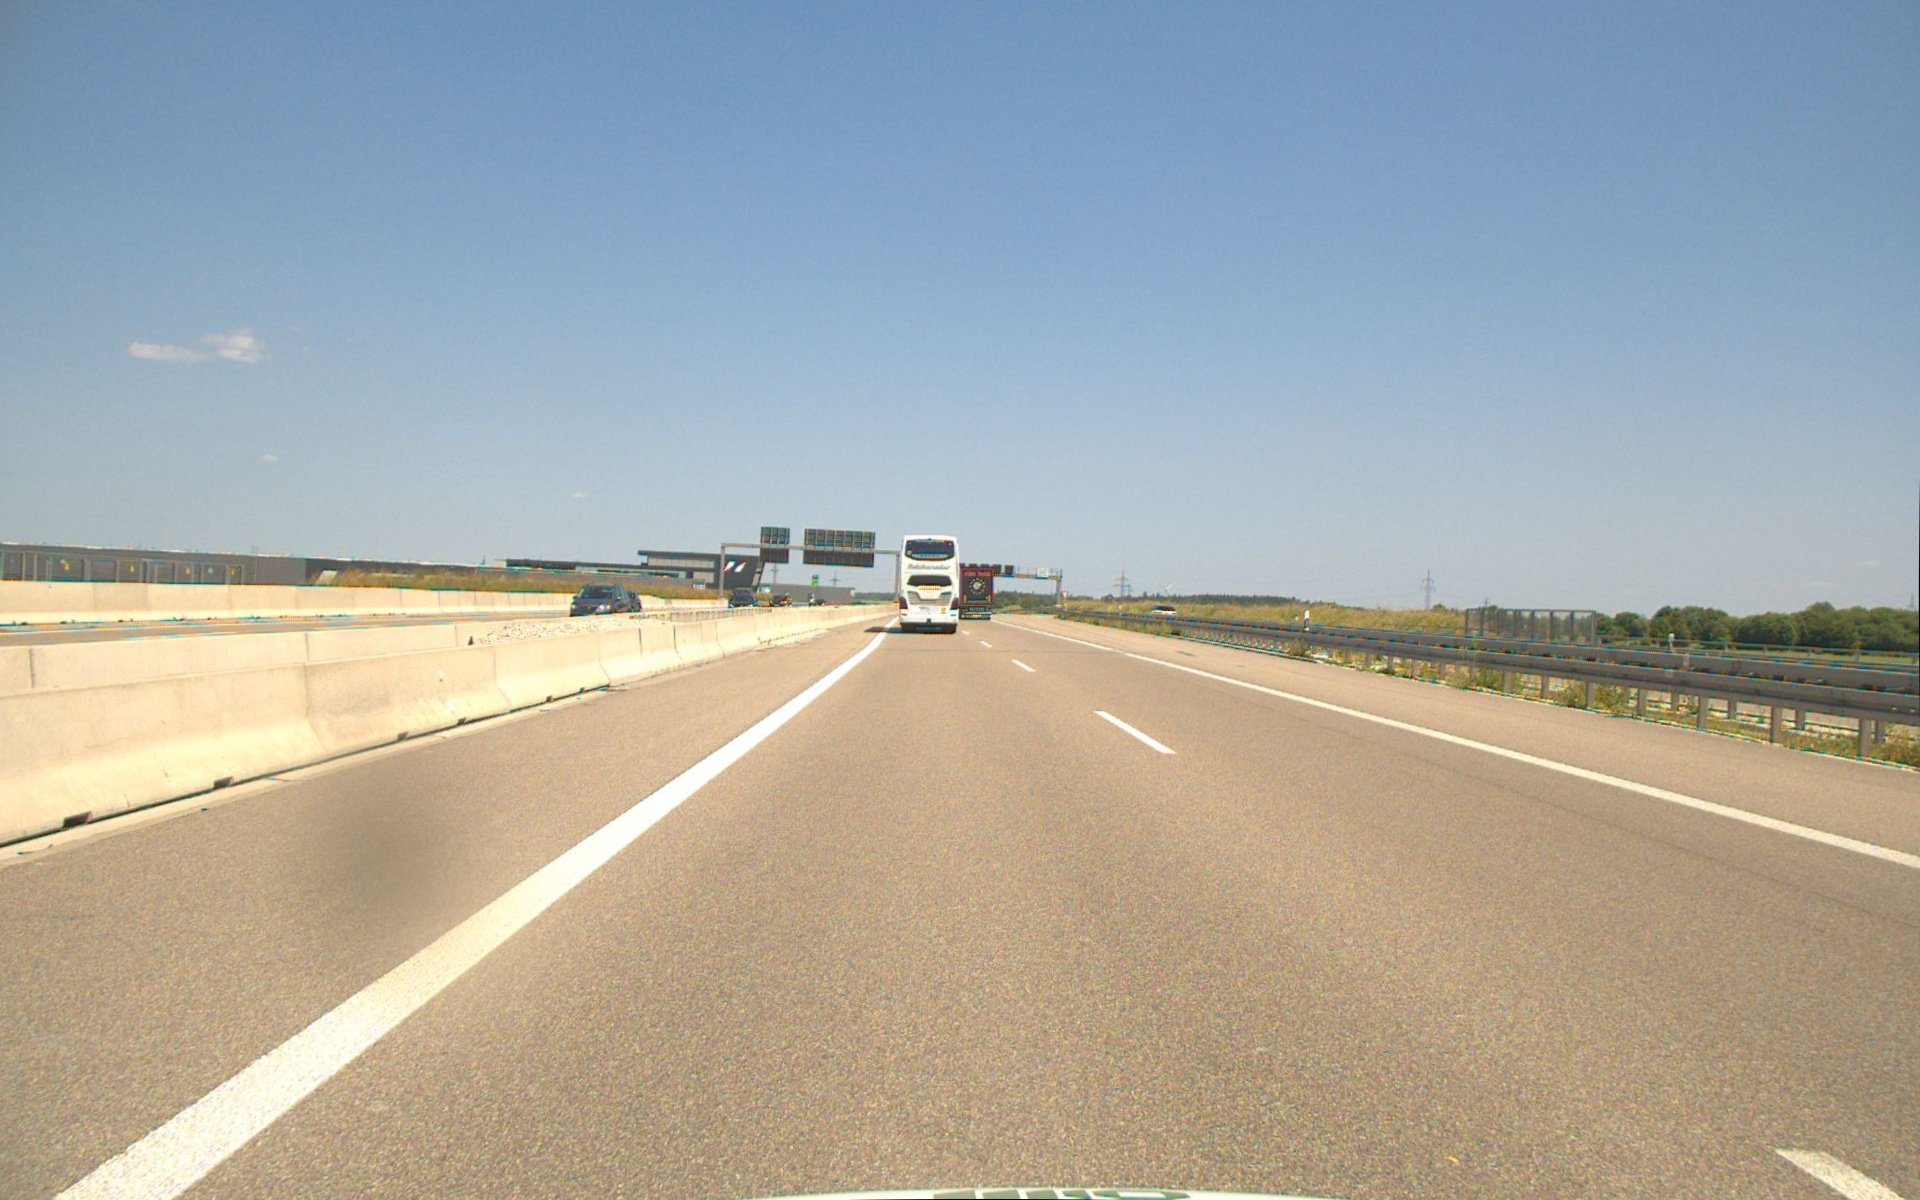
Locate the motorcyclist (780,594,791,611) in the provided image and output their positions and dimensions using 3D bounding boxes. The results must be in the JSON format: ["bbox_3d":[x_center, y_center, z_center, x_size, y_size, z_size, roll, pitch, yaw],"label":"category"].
[{"bbox_3d":[-15.468,0.224,146.488,0.899,1.523,0.923,1,0,-1],"label":"motorcyclist"}]

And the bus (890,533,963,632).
[{"bbox_3d":[-1.543,-0.742,72.977,2.920,4.044,9.101,1,0,-2],"label":"bus"}]

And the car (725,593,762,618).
[{"bbox_3d":[-15.045,0.376,115.138,1.953,1.698,4.648,1,0,-1],"label":"car"}]

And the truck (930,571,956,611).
[{"bbox_3d":[-1.699,-0.889,165.568,2.388,3.855,6.491,1,0,-2],"label":"truck"}]

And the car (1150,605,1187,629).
[{"bbox_3d":[14.462,1.139,114.710,1.853,1.556,4.260,1,0,-2],"label":"car"}]

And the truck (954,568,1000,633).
[{"bbox_3d":[1.406,0.141,131.463,3.310,4.542,13.566,2,-2,1],"label":"truck"}]

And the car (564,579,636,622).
[{"bbox_3d":[-14.867,0.022,68.476,1.846,1.716,5.015,1,0,0],"label":"car"}]

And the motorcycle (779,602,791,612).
[{"bbox_3d":[-15.491,0.602,146.693,0.760,0.918,2.705,1,0,0],"label":"motorcycle"}]

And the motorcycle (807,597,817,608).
[{"bbox_3d":[-16.223,0.293,181.424,0.938,1.189,2.722,1,0,-1],"label":"motorcycle"}]

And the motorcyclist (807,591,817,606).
[{"bbox_3d":[-16.219,-0.149,181.220,0.901,1.650,1.088,1,0,-1],"label":"motorcyclist"}]
